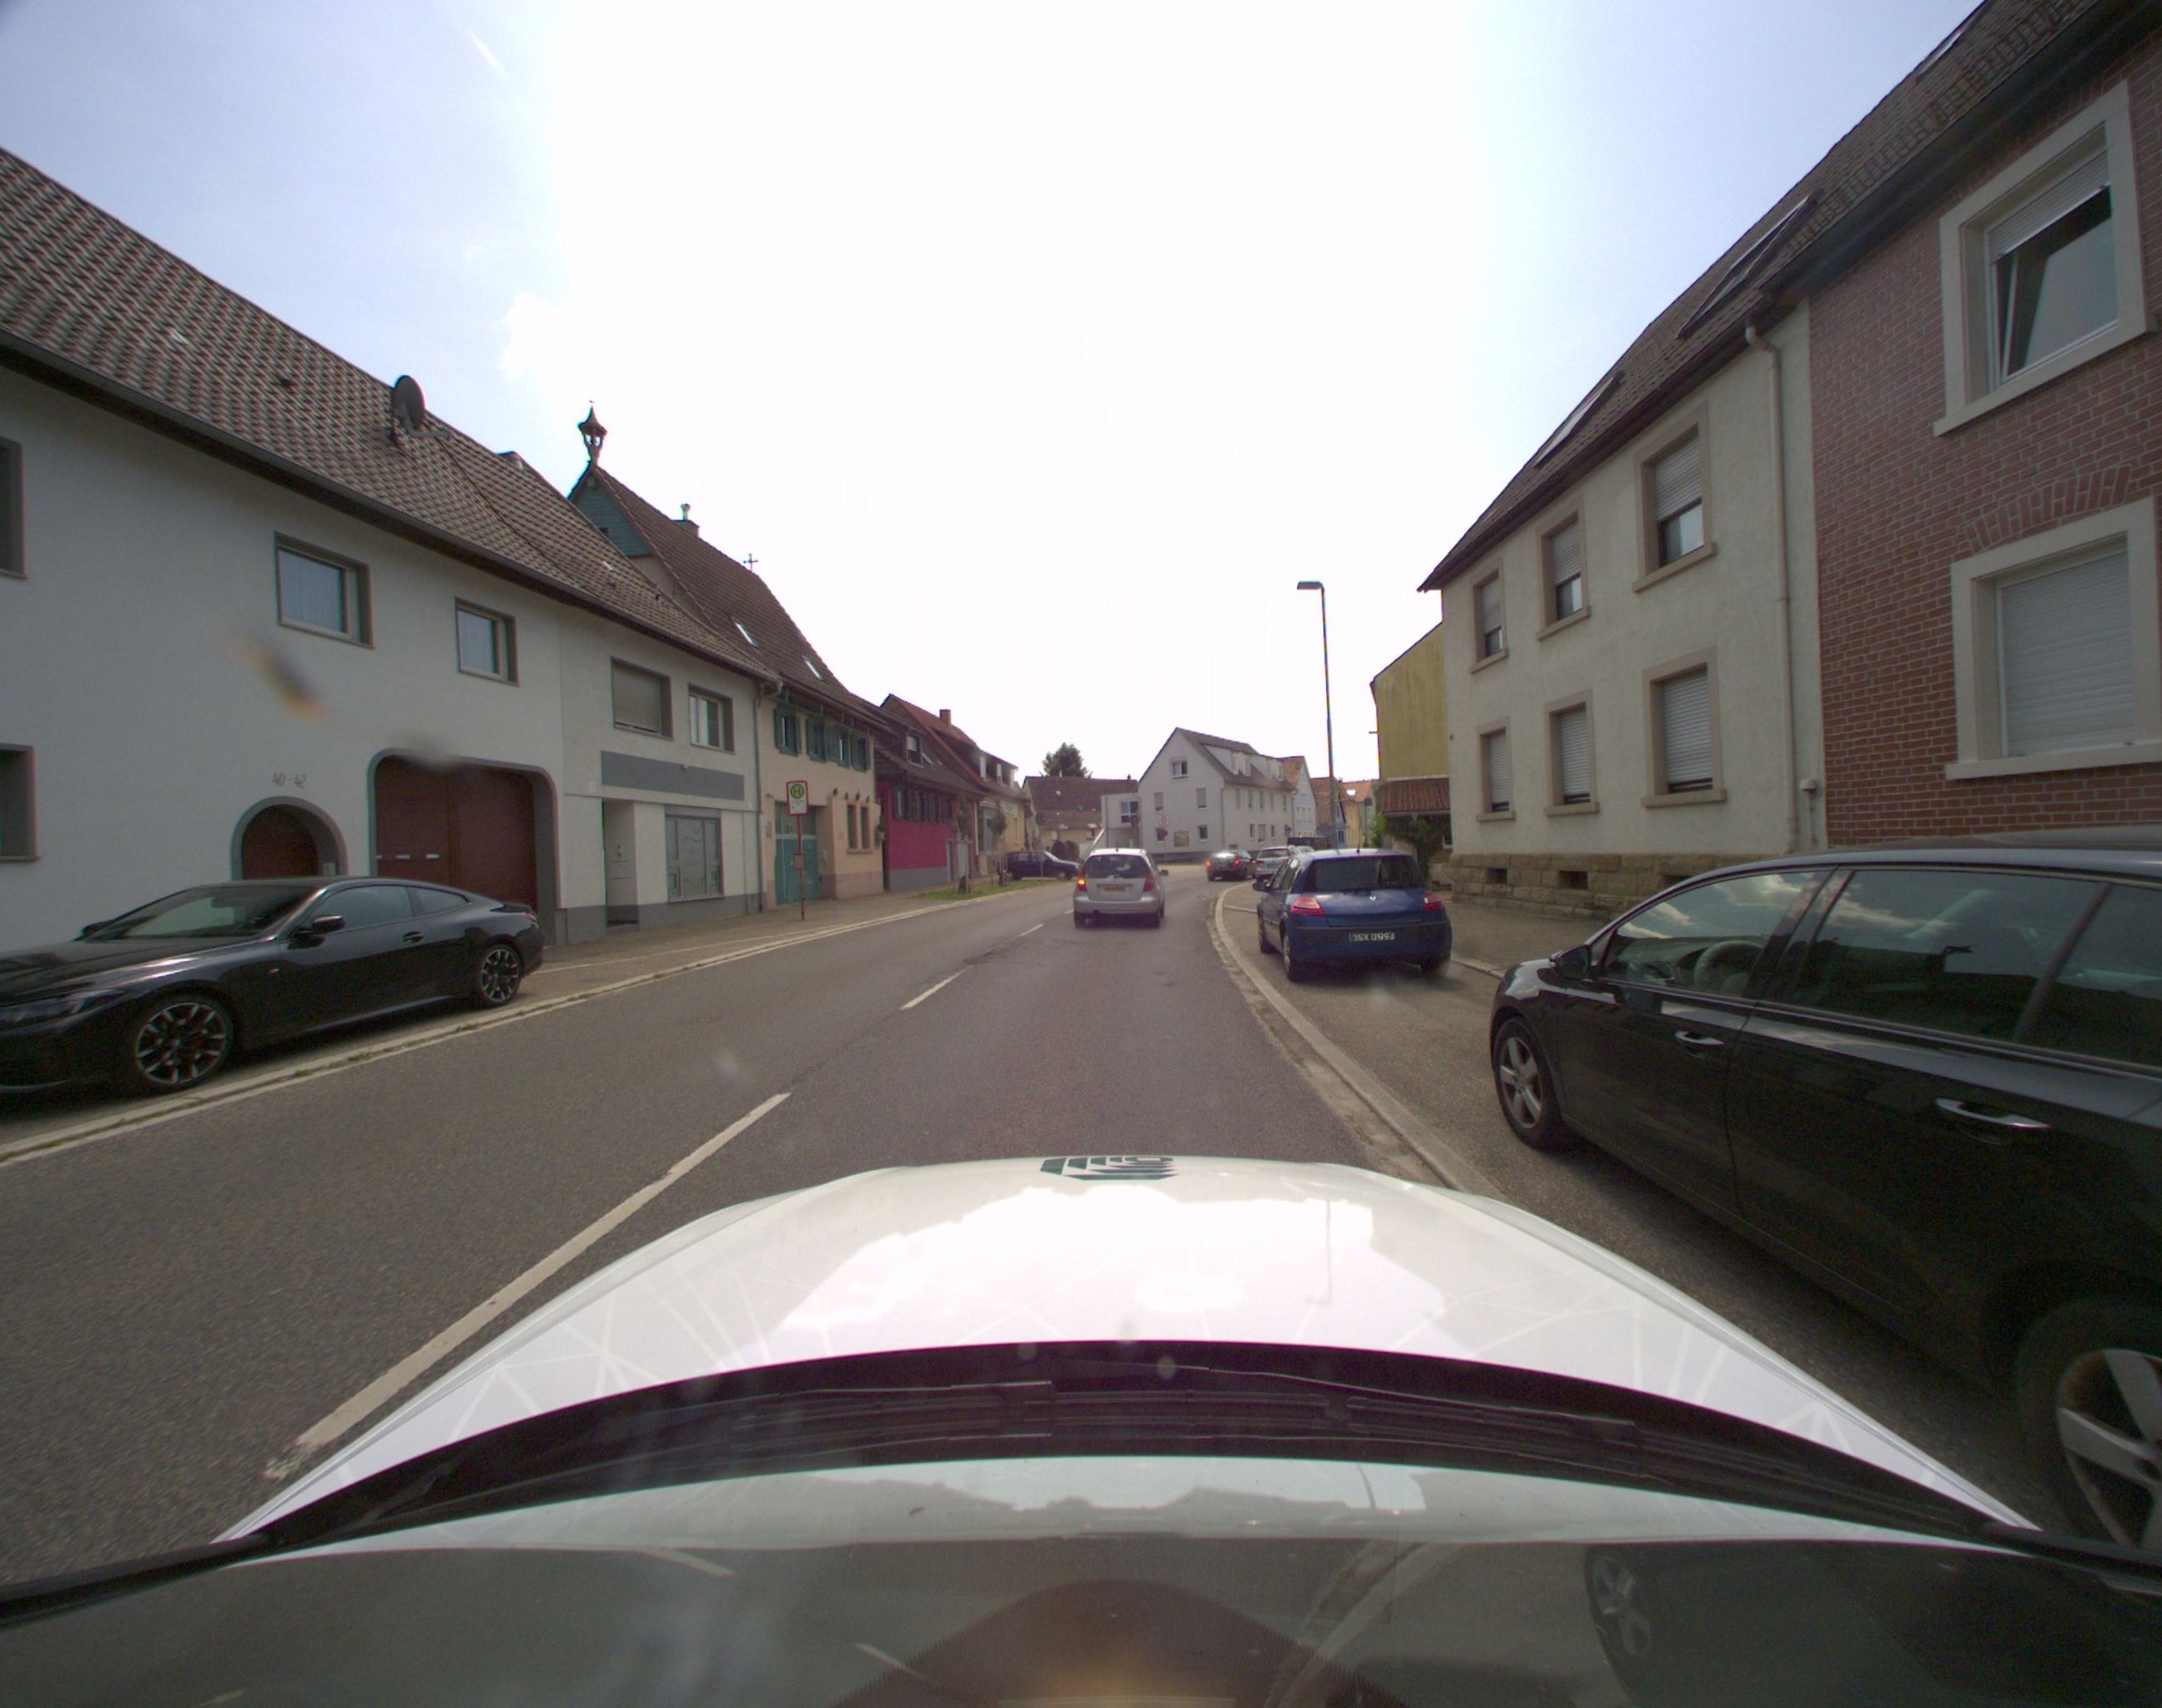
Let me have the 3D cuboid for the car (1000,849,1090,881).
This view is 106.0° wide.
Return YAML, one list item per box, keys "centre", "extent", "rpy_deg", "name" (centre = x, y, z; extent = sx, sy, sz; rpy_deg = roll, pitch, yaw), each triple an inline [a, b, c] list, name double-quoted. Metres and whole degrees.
- centre: [-1.674, 0.504, 38.200]
  extent: [3.946, 1.464, 1.725]
  rpy_deg: [-1, 0, 7]
  name: "car"

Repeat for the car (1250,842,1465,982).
- centre: [3.251, 0.632, 10.382]
  extent: [1.714, 1.385, 4.007]
  rpy_deg: [-2, -1, 6]
  name: "car"

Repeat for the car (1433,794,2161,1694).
- centre: [2.862, 0.635, 2.743]
  extent: [1.760, 1.529, 4.005]
  rpy_deg: [-5, 2, 4]
  name: "car"

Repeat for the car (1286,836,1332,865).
- centre: [15.014, -0.226, 53.572]
  extent: [1.974, 1.816, 4.024]
  rpy_deg: [-1, -1, 29]
  name: "car"

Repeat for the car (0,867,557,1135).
- centre: [-6.825, 0.871, 6.761]
  extent: [1.759, 1.349, 4.757]
  rpy_deg: [-1, 1, 1]
  name: "car"

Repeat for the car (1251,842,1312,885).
- centre: [8.319, 0.355, 33.542]
  extent: [1.869, 1.530, 4.358]
  rpy_deg: [-4, -1, 20]
  name: "car"

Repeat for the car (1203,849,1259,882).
- centre: [7.027, 0.531, 37.813]
  extent: [1.734, 1.416, 4.021]
  rpy_deg: [-1, -1, 22]
  name: "car"

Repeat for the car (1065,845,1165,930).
- centre: [0.856, 0.630, 17.807]
  extent: [1.800, 1.643, 3.738]
  rpy_deg: [0, 1, 8]
  name: "car"
